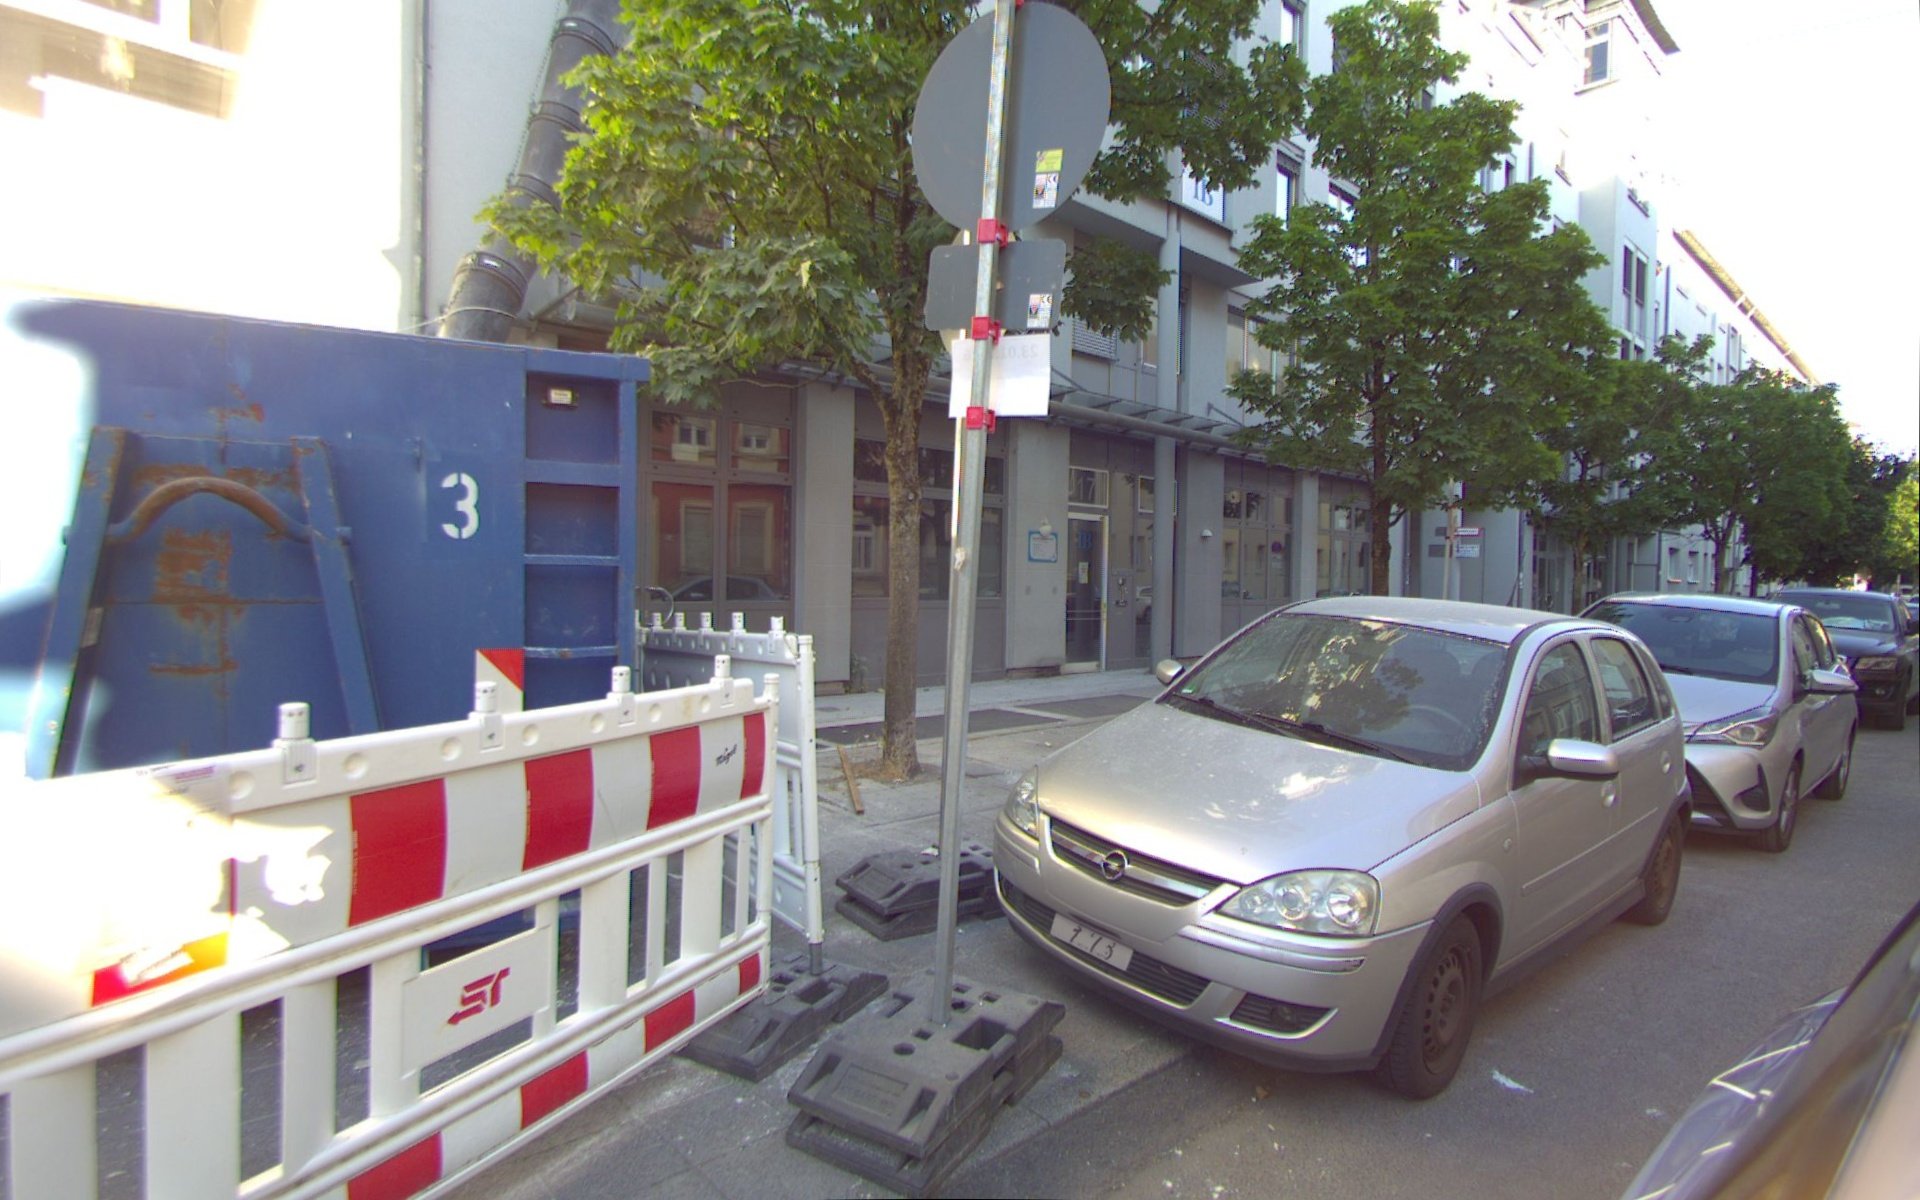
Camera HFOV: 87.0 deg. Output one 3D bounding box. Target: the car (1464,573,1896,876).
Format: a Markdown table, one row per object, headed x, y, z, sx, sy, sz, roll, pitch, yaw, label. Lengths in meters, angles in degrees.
| x | y | z | sx | sy | sz | roll | pitch | yaw | label |
| --- | --- | --- | --- | --- | --- | --- | --- | --- | --- |
| 5.331 | 0.635 | 7.293 | 3.902 | 1.543 | 1.679 | 0 | 3 | -42 | car |

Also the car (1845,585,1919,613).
| x | y | z | sx | sy | sz | roll | pitch | yaw | label |
| --- | --- | --- | --- | --- | --- | --- | --- | --- | --- |
| 60.225 | -0.066 | 65.734 | 1.968 | 1.584 | 3.991 | 0 | 4 | -45 | car |

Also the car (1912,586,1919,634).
| x | y | z | sx | sy | sz | roll | pitch | yaw | label |
| --- | --- | --- | --- | --- | --- | --- | --- | --- | --- |
| 35.244 | 0.365 | 35.949 | 1.873 | 1.655 | 4.646 | 4 | 4 | 45 | car |

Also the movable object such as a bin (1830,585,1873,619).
| x | y | z | sx | sy | sz | roll | pitch | yaw | label |
| --- | --- | --- | --- | --- | --- | --- | --- | --- | --- |
| 40.511 | 0.089 | 45.983 | 1.203 | 1.454 | 1.286 | 0 | 3 | -43 | movable object such as a bin |

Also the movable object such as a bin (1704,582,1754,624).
| x | y | z | sx | sy | sz | roll | pitch | yaw | label |
| --- | --- | --- | --- | --- | --- | --- | --- | --- | --- |
| 28.585 | 0.099 | 37.623 | 1.120 | 1.454 | 1.263 | 0 | 3 | -43 | movable object such as a bin |

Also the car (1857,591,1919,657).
| x | y | z | sx | sy | sz | roll | pitch | yaw | label |
| --- | --- | --- | --- | --- | --- | --- | --- | --- | --- |
| 23.336 | 0.551 | 24.667 | 4.272 | 1.446 | 1.766 | -1 | 4 | -43 | car |

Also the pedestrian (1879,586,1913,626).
| x | y | z | sx | sy | sz | roll | pitch | yaw | label |
| --- | --- | --- | --- | --- | --- | --- | --- | --- | --- |
| 36.301 | 0.234 | 39.253 | 0.855 | 1.481 | 0.802 | 0 | 3 | -39 | pedestrian |

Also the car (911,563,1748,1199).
| x | y | z | sx | sy | sz | roll | pitch | yaw | label |
| --- | --- | --- | --- | --- | --- | --- | --- | --- | --- |
| 1.769 | 0.654 | 4.248 | 3.664 | 1.493 | 1.680 | 0 | 3 | -41 | car |

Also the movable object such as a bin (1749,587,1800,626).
| x | y | z | sx | sy | sz | roll | pitch | yaw | label |
| --- | --- | --- | --- | --- | --- | --- | --- | --- | --- |
| 29.641 | 0.217 | 36.832 | 1.120 | 1.337 | 1.263 | 0 | 3 | -43 | movable object such as a bin |

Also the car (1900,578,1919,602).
| x | y | z | sx | sy | sz | roll | pitch | yaw | label |
| --- | --- | --- | --- | --- | --- | --- | --- | --- | --- |
| 96.976 | -0.980 | 101.981 | 2.147 | 2.311 | 6.135 | 4 | 3 | 33 | car |

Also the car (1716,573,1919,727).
| x | y | z | sx | sy | sz | roll | pitch | yaw | label |
| --- | --- | --- | --- | --- | --- | --- | --- | --- | --- |
| 11.675 | 0.519 | 13.408 | 4.360 | 1.642 | 1.888 | -1 | 3 | -43 | car |

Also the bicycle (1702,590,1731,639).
| x | y | z | sx | sy | sz | roll | pitch | yaw | label |
| --- | --- | --- | --- | --- | --- | --- | --- | --- | --- |
| 19.610 | 0.364 | 26.254 | 0.518 | 1.182 | 1.718 | 3 | 3 | 36 | bicycle |
